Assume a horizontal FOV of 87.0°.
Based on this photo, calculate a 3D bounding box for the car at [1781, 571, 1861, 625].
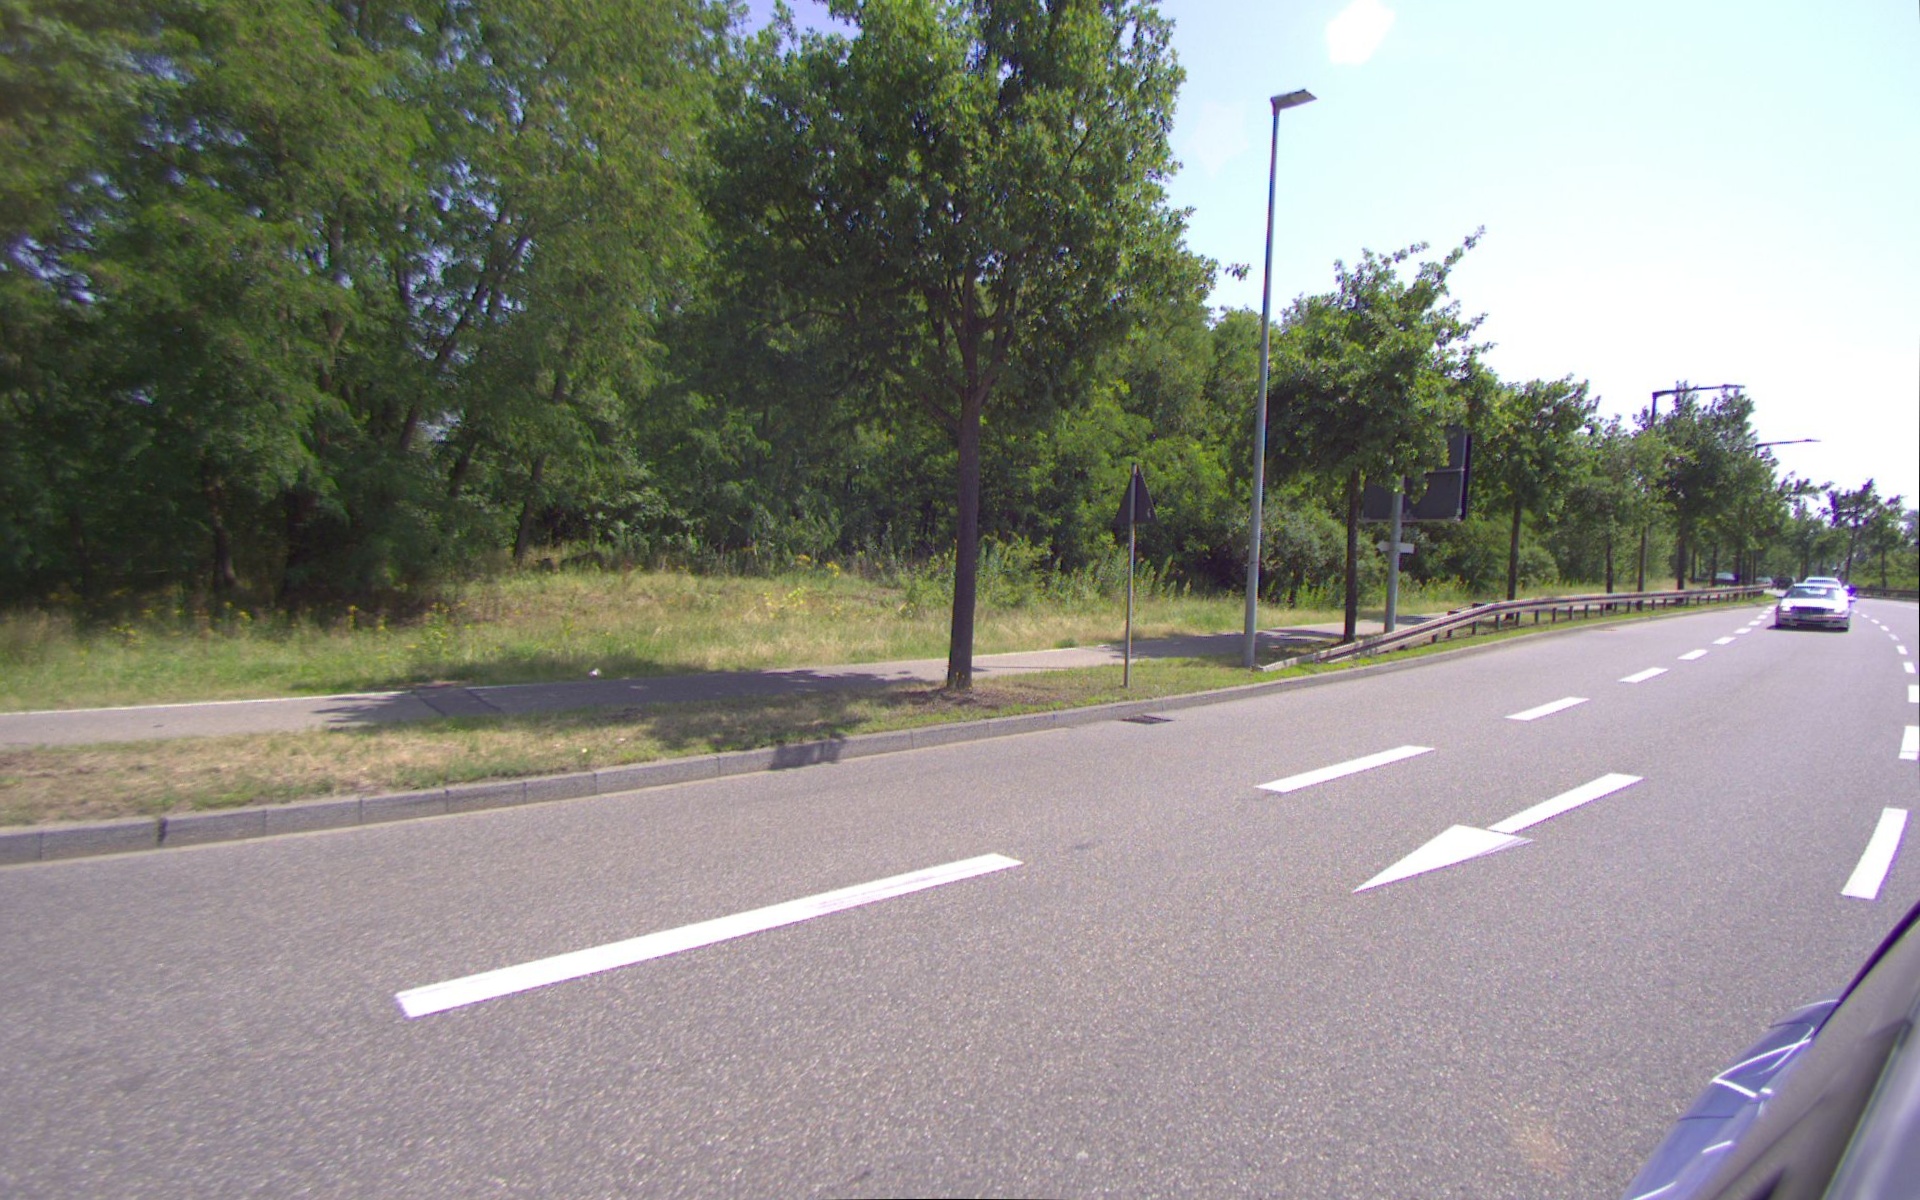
[{"bbox_3d":[26.757,-0.084,31.399,1.758,1.517,4.169,2,2,42],"label":"car"}]

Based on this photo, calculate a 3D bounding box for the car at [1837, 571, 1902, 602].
[{"bbox_3d":[43.456,-0.626,48.421,1.990,1.386,4.175,2,1,38],"label":"car"}]
